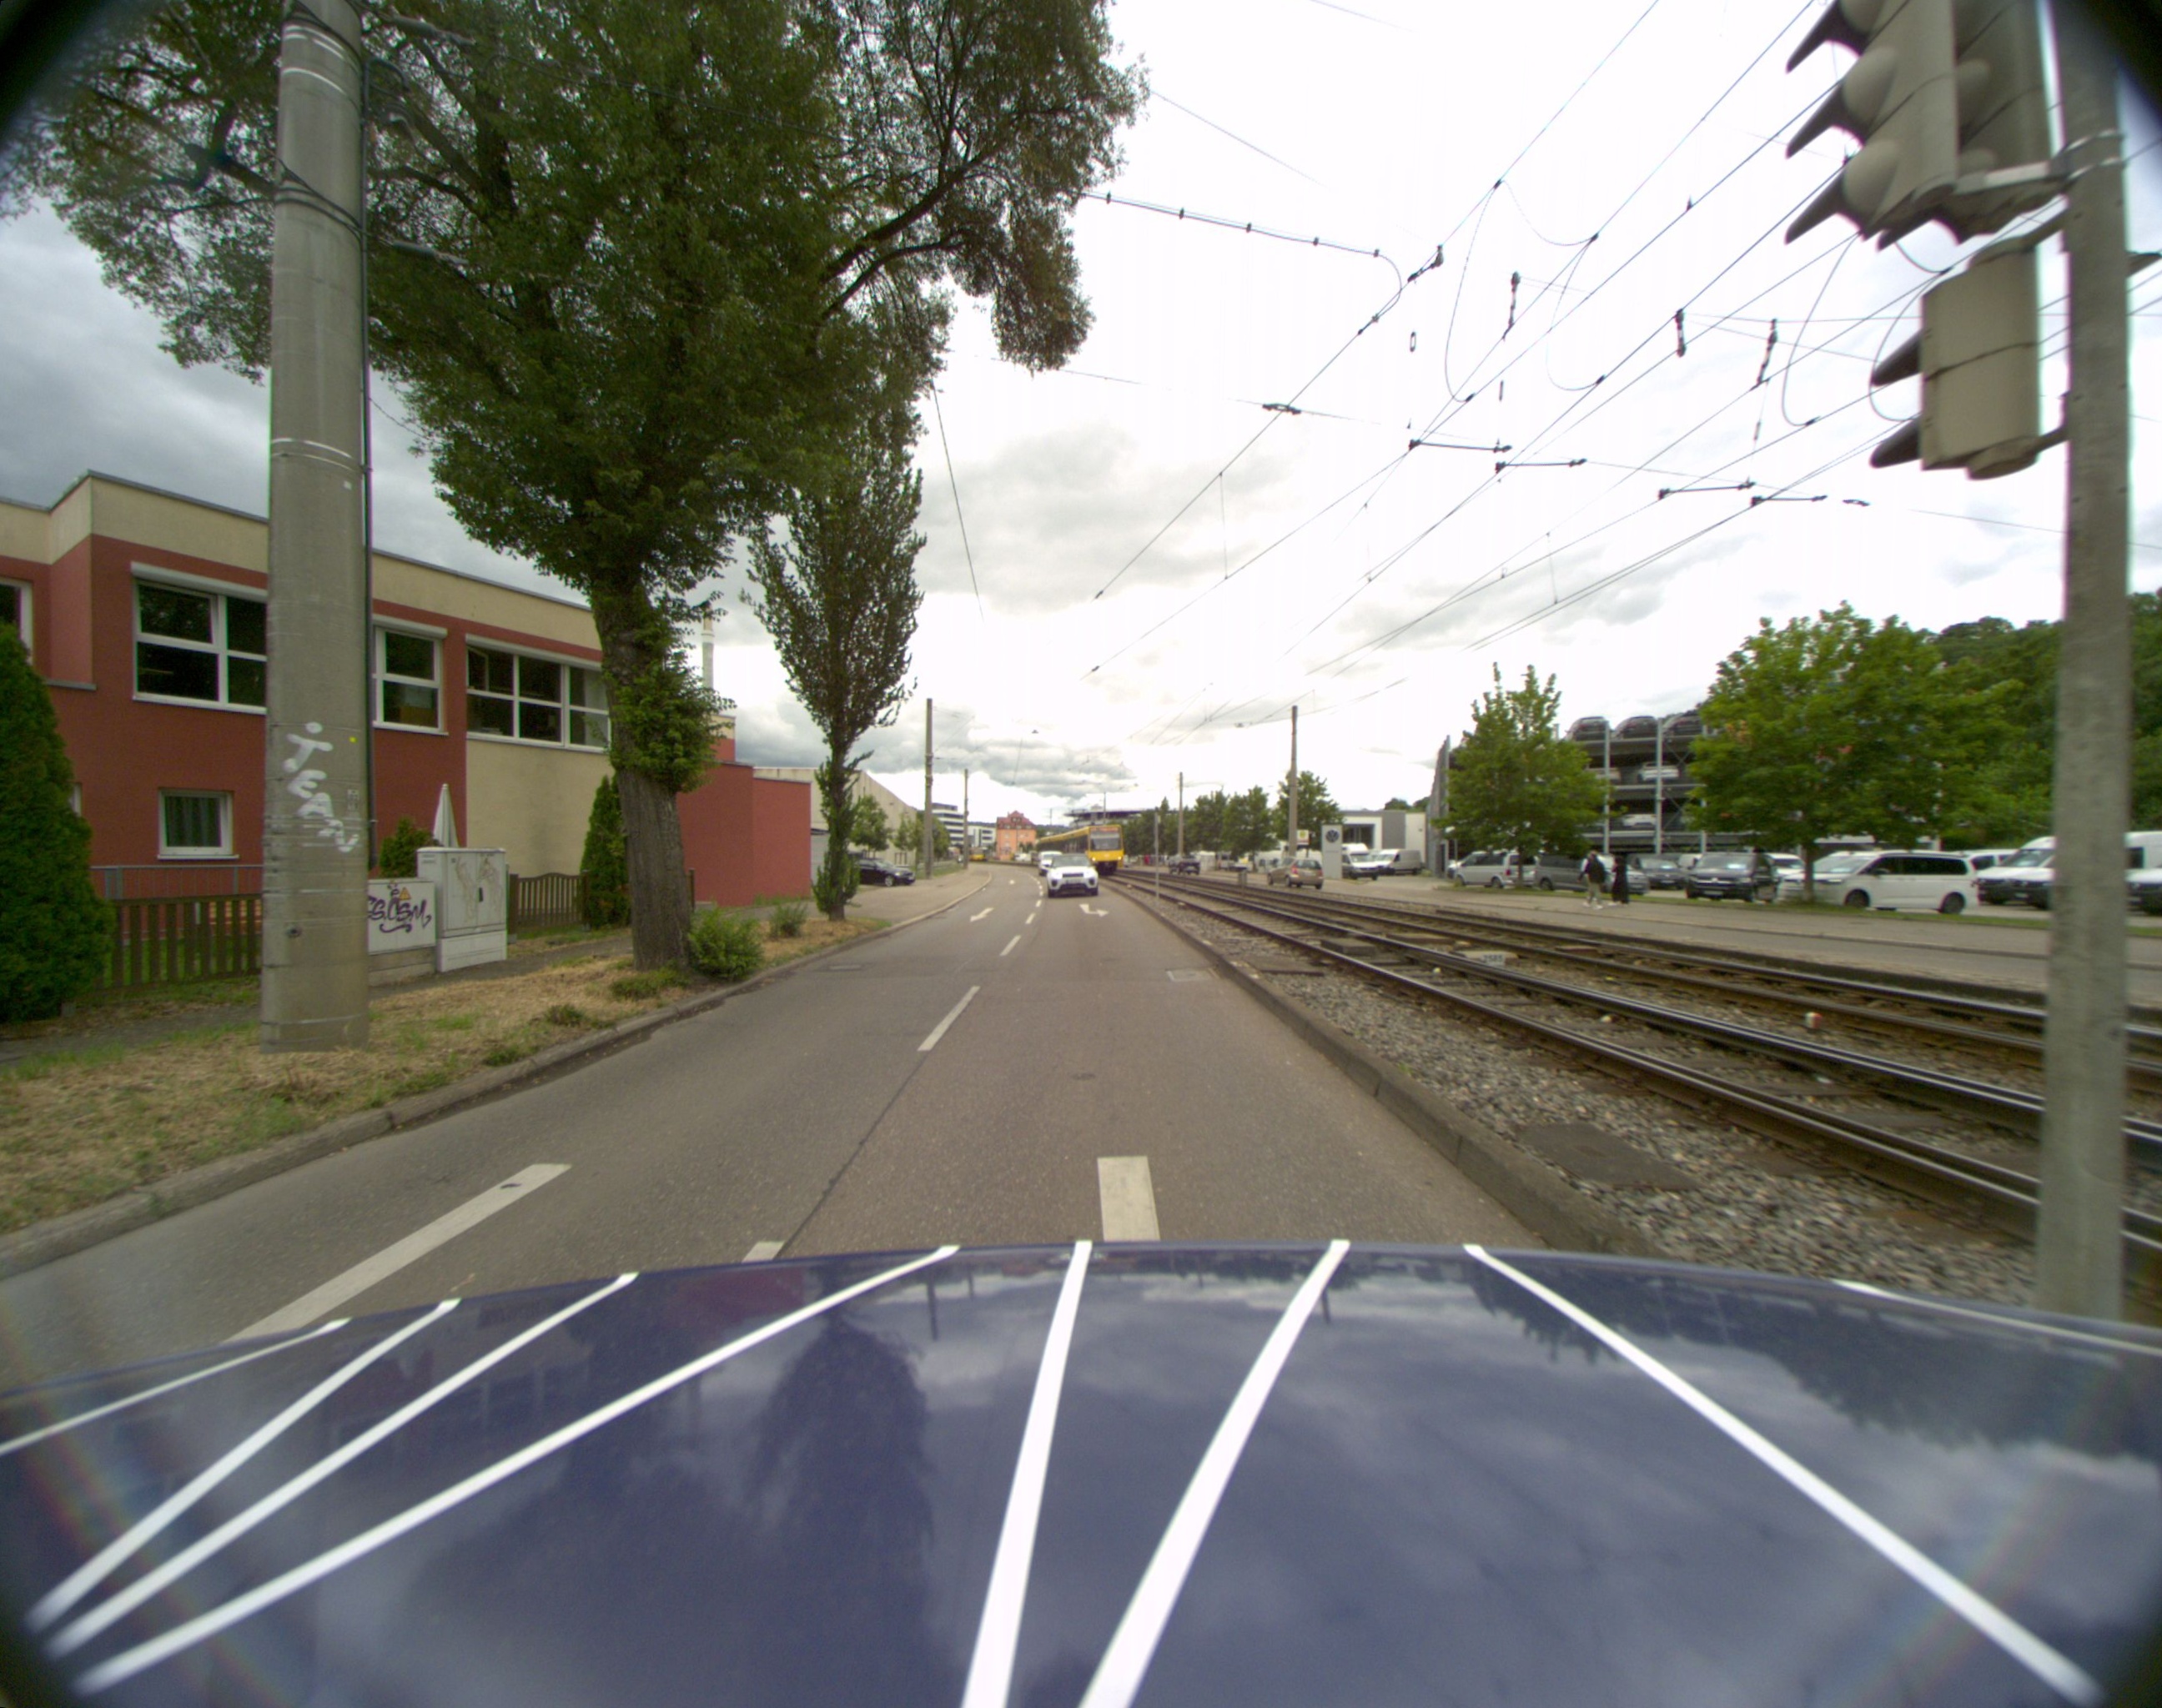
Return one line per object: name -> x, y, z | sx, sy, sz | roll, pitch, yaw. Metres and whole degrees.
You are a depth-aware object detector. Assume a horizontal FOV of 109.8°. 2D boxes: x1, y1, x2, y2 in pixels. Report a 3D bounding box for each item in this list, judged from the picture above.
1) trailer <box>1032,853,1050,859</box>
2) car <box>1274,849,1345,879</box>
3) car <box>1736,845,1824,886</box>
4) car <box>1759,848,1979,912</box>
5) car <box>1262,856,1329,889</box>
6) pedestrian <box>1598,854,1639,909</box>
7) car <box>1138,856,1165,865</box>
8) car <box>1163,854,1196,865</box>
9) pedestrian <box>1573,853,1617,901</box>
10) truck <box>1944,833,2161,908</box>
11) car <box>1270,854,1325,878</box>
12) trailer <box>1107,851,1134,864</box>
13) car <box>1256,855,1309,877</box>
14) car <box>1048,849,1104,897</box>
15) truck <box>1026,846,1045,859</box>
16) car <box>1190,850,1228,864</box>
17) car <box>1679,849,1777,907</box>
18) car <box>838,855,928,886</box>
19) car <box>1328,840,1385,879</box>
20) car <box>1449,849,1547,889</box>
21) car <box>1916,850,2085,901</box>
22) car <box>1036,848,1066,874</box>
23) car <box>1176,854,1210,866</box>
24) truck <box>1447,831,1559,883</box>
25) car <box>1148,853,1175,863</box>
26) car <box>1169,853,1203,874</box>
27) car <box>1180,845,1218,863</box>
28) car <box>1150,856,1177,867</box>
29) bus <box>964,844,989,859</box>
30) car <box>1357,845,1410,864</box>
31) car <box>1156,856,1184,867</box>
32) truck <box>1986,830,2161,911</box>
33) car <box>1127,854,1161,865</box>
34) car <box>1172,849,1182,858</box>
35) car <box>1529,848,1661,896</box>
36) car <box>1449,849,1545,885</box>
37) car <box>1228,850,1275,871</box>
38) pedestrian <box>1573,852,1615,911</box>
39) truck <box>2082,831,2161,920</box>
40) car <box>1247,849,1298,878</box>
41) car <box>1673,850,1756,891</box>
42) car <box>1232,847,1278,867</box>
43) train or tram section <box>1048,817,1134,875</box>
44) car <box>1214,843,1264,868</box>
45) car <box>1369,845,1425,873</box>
trailer -> -9.601, 0.407, 181.441 | 3.060, 1.270, 6.998 | 2, -1, -14
car -> 20.007, 0.837, 66.571 | 5.489, 2.587, 2.245 | 0, 0, -6
car -> 36.011, 0.549, 39.298 | 1.995, 2.001, 4.475 | 0, 0, 24
car -> 24.730, 0.778, 23.947 | 5.071, 1.877, 2.165 | 0, 0, -6
car -> 10.940, 0.909, 39.068 | 1.896, 1.523, 4.254 | 3, 0, -4
pedestrian -> 17.069, 0.854, 24.145 | 0.630, 1.703, 0.855 | -2, 0, -3
car -> 12.050, 1.132, 129.621 | 4.349, 1.608, 2.153 | 0, 0, -4
car -> 14.017, 0.797, 108.387 | 4.379, 1.608, 2.003 | 0, 0, -8
pedestrian -> 18.016, 0.796, 26.654 | 0.720, 1.646, 1.041 | -2, 0, -13
truck -> 36.009, 0.560, 27.962 | 5.061, 2.573, 2.472 | 0, 0, 19
car -> 19.659, 1.060, 69.165 | 4.380, 2.093, 2.002 | 0, 0, -10
trailer -> 5.508, 0.443, 106.913 | 2.390, 1.688, 6.942 | 2, 0, -8
car -> 19.028, 1.120, 71.775 | 4.380, 2.093, 2.002 | 0, 0, -10
car -> -0.246, 0.702, 29.666 | 1.999, 1.718, 3.999 | -1, 0, -2
truck -> -11.436, -0.312, 189.218 | 3.119, 2.904, 8.950 | 2, -1, -14
car -> 16.188, 0.391, 96.098 | 4.378, 1.834, 2.003 | 0, 0, -5
car -> 24.311, 0.839, 28.480 | 5.083, 2.002, 2.160 | 0, 0, -42
car -> -10.267, 0.824, 39.375 | 4.223, 1.434, 1.766 | 2, 1, 22
car -> 22.097, 0.434, 61.330 | 2.114, 3.001, 5.934 | 0, 0, -4
car -> 21.894, 0.747, 40.137 | 2.000, 2.002, 4.915 | 0, 0, -8
car -> 37.189, 0.847, 30.854 | 3.993, 2.002, 2.002 | 0, 0, 11
car -> -2.315, 0.514, 57.672 | 2.000, 1.881, 4.624 | 0, 0, -6
car -> 15.587, 0.789, 105.825 | 4.378, 1.676, 2.003 | 0, 0, -5
truck -> 26.224, 0.171, 47.459 | 5.924, 3.067, 2.123 | 0, 0, 23
car -> 13.102, 0.606, 123.664 | 4.190, 1.608, 2.062 | 0, 0, -4
car -> 8.540, 0.760, 62.118 | 1.692, 1.523, 4.254 | 3, 0, -6
car -> 15.233, 0.051, 98.293 | 4.510, 2.298, 2.124 | 0, 0, -5
car -> 12.913, 1.188, 119.323 | 3.998, 1.608, 1.999 | 0, 0, -4
bus -> -28.454, -0.854, 206.724 | 3.566, 3.930, 10.468 | -2, 2, -27
car -> 32.197, 0.019, 80.964 | 4.857, 2.002, 1.999 | 0, 0, -4
car -> 13.652, 1.137, 116.769 | 3.998, 1.608, 1.999 | 0, 0, -4
truck -> 34.717, 0.534, 25.086 | 5.765, 2.573, 2.472 | 0, 0, 19
car -> 11.177, 0.973, 135.029 | 5.704, 1.996, 2.146 | 0, 0, 12
car -> 22.204, -0.179, 175.744 | 1.996, 2.002, 4.004 | 0, 0, 14
car -> 22.707, 0.750, 33.894 | 2.000, 2.002, 5.126 | 0, 0, -7
car -> 24.344, 0.732, 44.695 | 4.719, 2.002, 2.003 | 0, 0, 21
car -> 17.730, 0.632, 79.083 | 4.380, 2.160, 2.002 | 0, 0, -10
pedestrian -> 16.181, 0.858, 23.995 | 0.678, 1.802, 0.855 | -2, 0, -3
truck -> 33.738, 0.621, 22.076 | 5.059, 2.573, 2.473 | 0, 0, 25
car -> 18.662, 0.934, 74.107 | 4.380, 2.802, 2.002 | 0, 0, -10
car -> 33.437, 0.835, 40.249 | 1.995, 2.001, 4.475 | 0, 0, 21
car -> 18.740, 0.303, 81.821 | 4.380, 2.160, 2.002 | 0, 0, -10
train or tram section -> 0.376, -0.623, 60.954 | 3.400, 3.984, 16.925 | -2, 1, -11
car -> 17.538, 0.153, 84.391 | 4.982, 2.683, 2.113 | 0, 0, -10
car -> 30.142, 0.440, 72.335 | 5.964, 2.587, 1.999 | 0, 0, -35
